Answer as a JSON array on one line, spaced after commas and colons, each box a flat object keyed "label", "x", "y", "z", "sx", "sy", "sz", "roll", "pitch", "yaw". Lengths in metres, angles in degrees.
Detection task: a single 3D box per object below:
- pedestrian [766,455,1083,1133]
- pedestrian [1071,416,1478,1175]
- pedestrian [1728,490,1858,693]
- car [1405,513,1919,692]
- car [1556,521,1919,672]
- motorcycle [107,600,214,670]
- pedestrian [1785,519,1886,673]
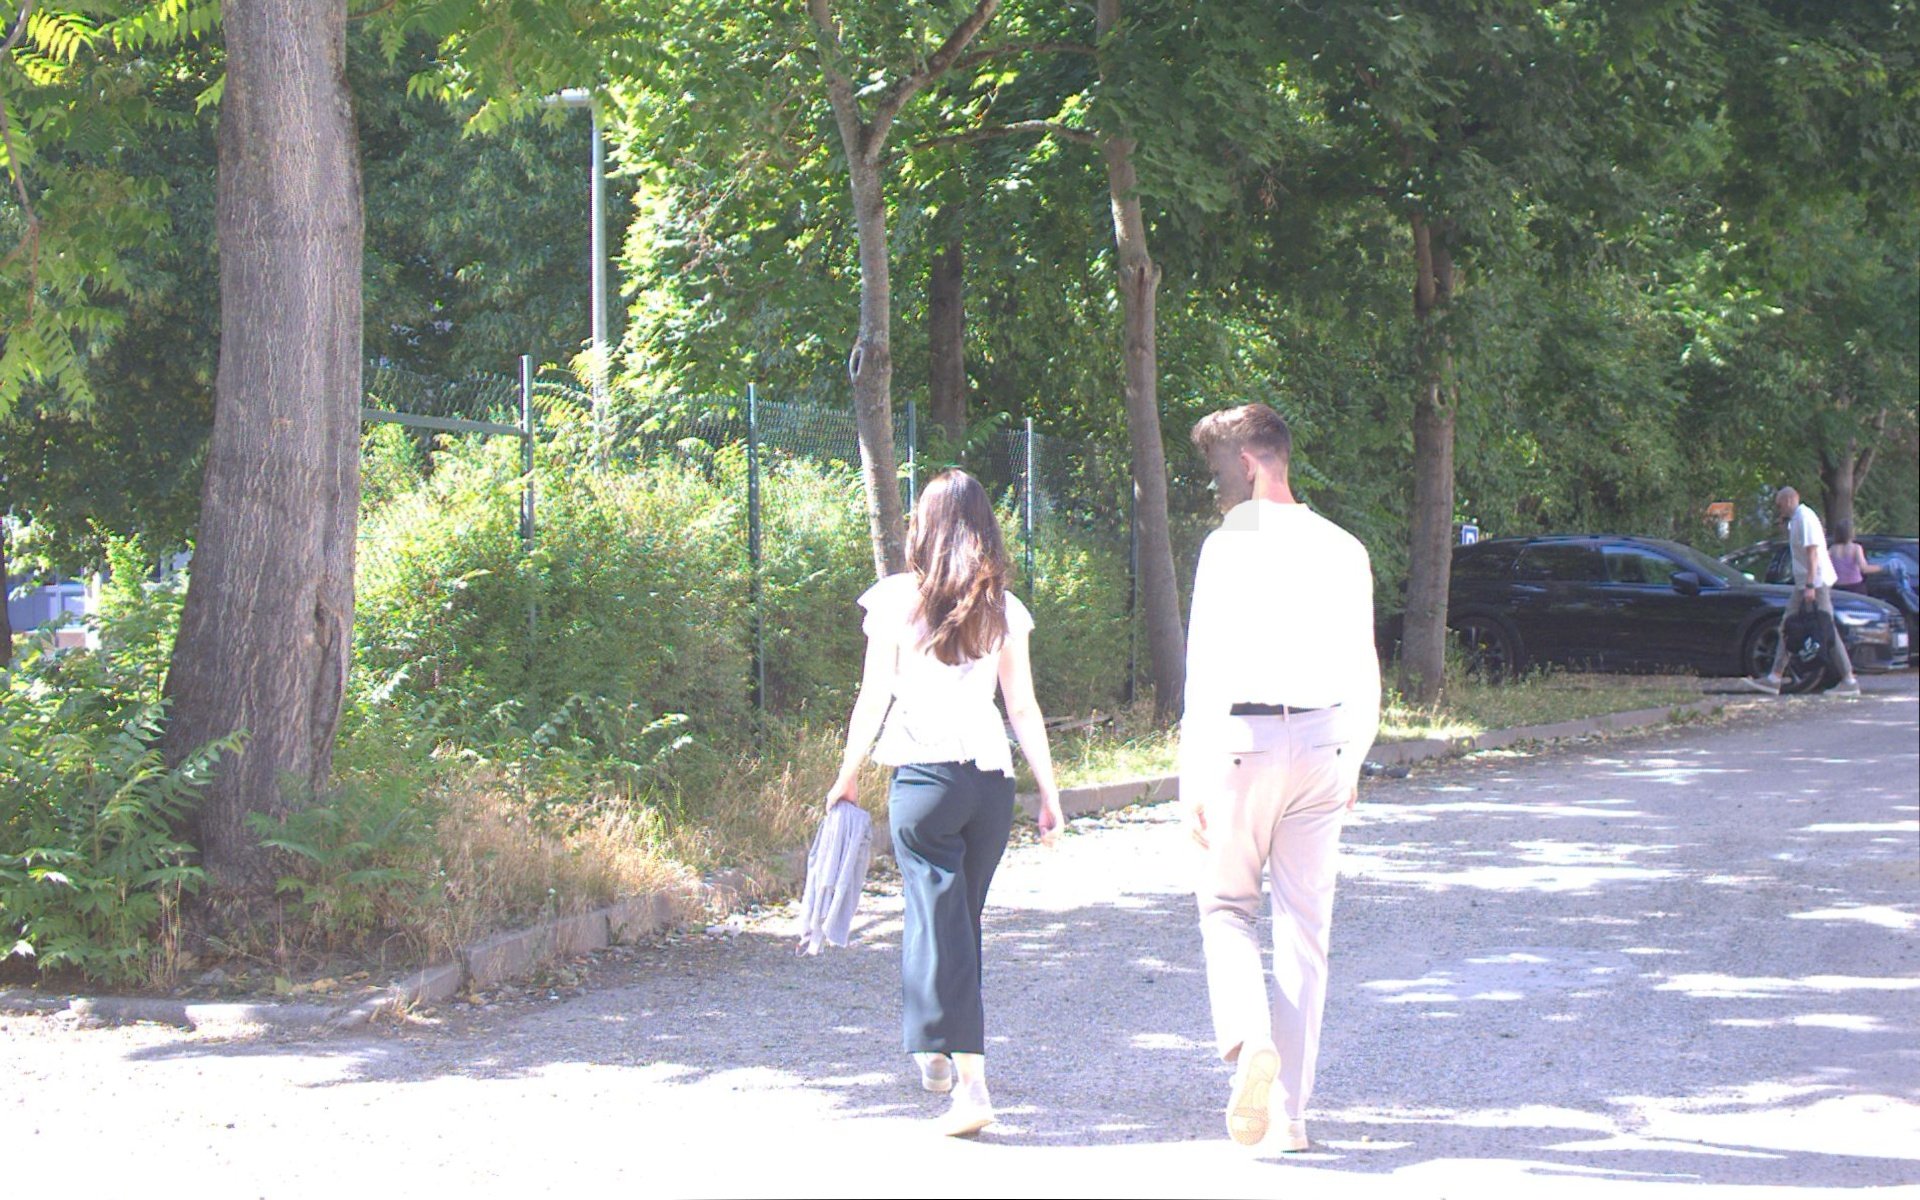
[{"label": "pedestrian", "x": -0.105, "y": 0.458, "z": 8.727, "sx": 0.735, "sy": 1.634, "sz": 0.781, "roll": -1, "pitch": 2, "yaw": -4}, {"label": "pedestrian", "x": 0.741, "y": 0.431, "z": 8.307, "sx": 0.755, "sy": 1.722, "sz": 0.854, "roll": -1, "pitch": 2, "yaw": -10}, {"label": "pedestrian", "x": 7.414, "y": -0.078, "z": 30.585, "sx": 1.015, "sy": 1.775, "sz": 0.819, "roll": 0, "pitch": 1, "yaw": 22}, {"label": "car", "x": 6.747, "y": 0.001, "z": 32.544, "sx": 4.661, "sy": 1.579, "sz": 1.998, "roll": 0, "pitch": 2, "yaw": 22}, {"label": "car", "x": 9.106, "y": -0.056, "z": 37.963, "sx": 4.661, "sy": 1.579, "sz": 1.998, "roll": 0, "pitch": 2, "yaw": 22}, {"label": "motorcycle", "x": -14.813, "y": 0.646, "z": 63.742, "sx": 0.629, "sy": 1.242, "sz": 2.059, "roll": 0, "pitch": 1, "yaw": 32}, {"label": "pedestrian", "x": 9.253, "y": -0.051, "z": 36.328, "sx": 0.926, "sy": 1.589, "sz": 0.785, "roll": 0, "pitch": 2, "yaw": 22}]
